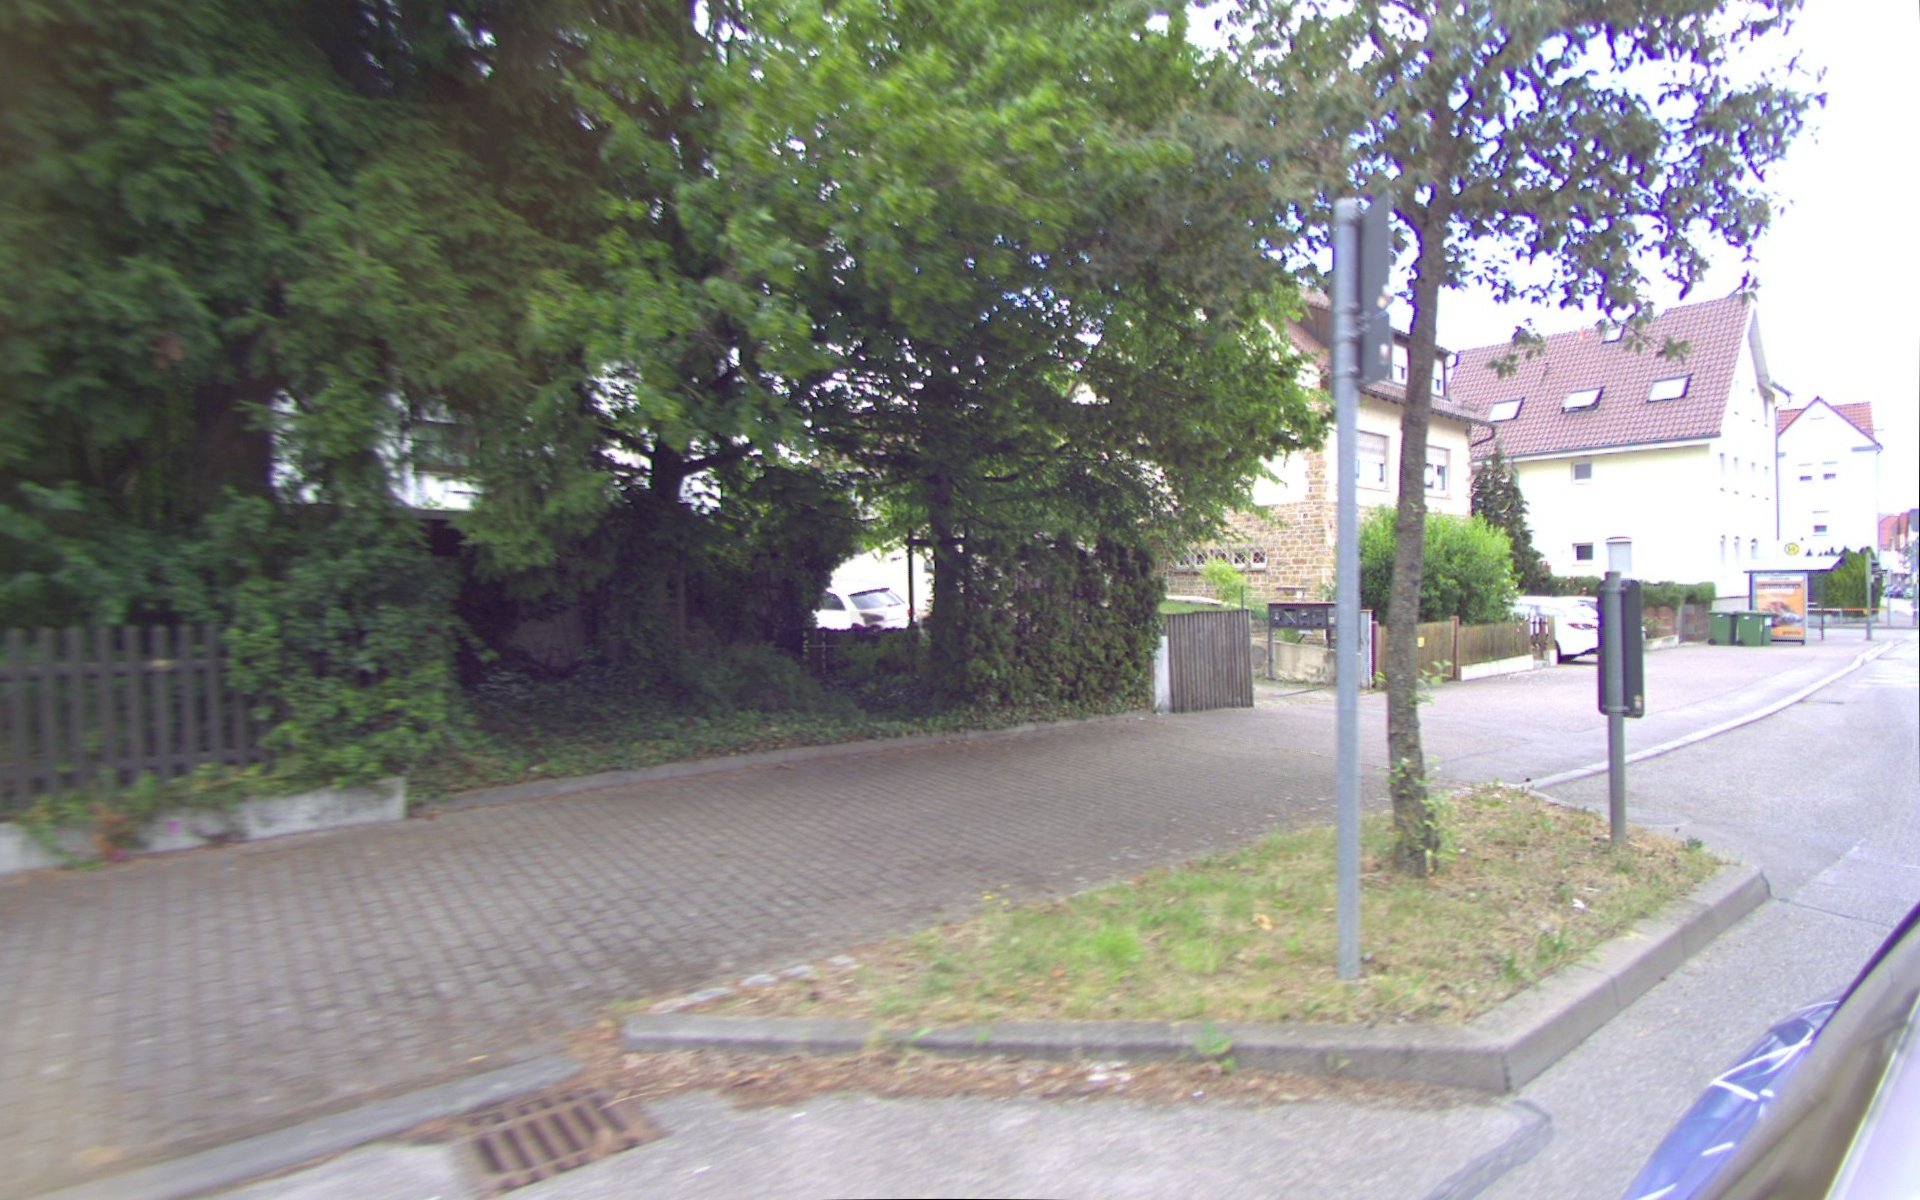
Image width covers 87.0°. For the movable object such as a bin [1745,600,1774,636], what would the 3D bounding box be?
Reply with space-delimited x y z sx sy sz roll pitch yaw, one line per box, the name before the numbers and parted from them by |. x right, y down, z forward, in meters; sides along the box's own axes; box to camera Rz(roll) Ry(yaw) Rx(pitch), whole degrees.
movable object such as a bin | 24.016 0.528 30.385 0.635 1.059 0.577 -1 0 42

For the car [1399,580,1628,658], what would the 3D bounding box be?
car | 13.109 0.364 24.184 1.833 1.506 4.429 -2 4 -41

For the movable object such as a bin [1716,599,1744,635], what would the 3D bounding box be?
movable object such as a bin | 23.497 0.525 30.866 0.636 1.059 0.577 1 2 42

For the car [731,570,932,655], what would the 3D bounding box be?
car | -2.678 0.170 20.580 4.080 1.411 1.809 2 7 42

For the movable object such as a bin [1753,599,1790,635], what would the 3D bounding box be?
movable object such as a bin | 24.671 0.515 30.782 0.579 1.059 0.639 -1 0 -16

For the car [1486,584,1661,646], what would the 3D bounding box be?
car | 16.761 0.350 27.753 1.614 1.418 3.805 -2 4 -45
